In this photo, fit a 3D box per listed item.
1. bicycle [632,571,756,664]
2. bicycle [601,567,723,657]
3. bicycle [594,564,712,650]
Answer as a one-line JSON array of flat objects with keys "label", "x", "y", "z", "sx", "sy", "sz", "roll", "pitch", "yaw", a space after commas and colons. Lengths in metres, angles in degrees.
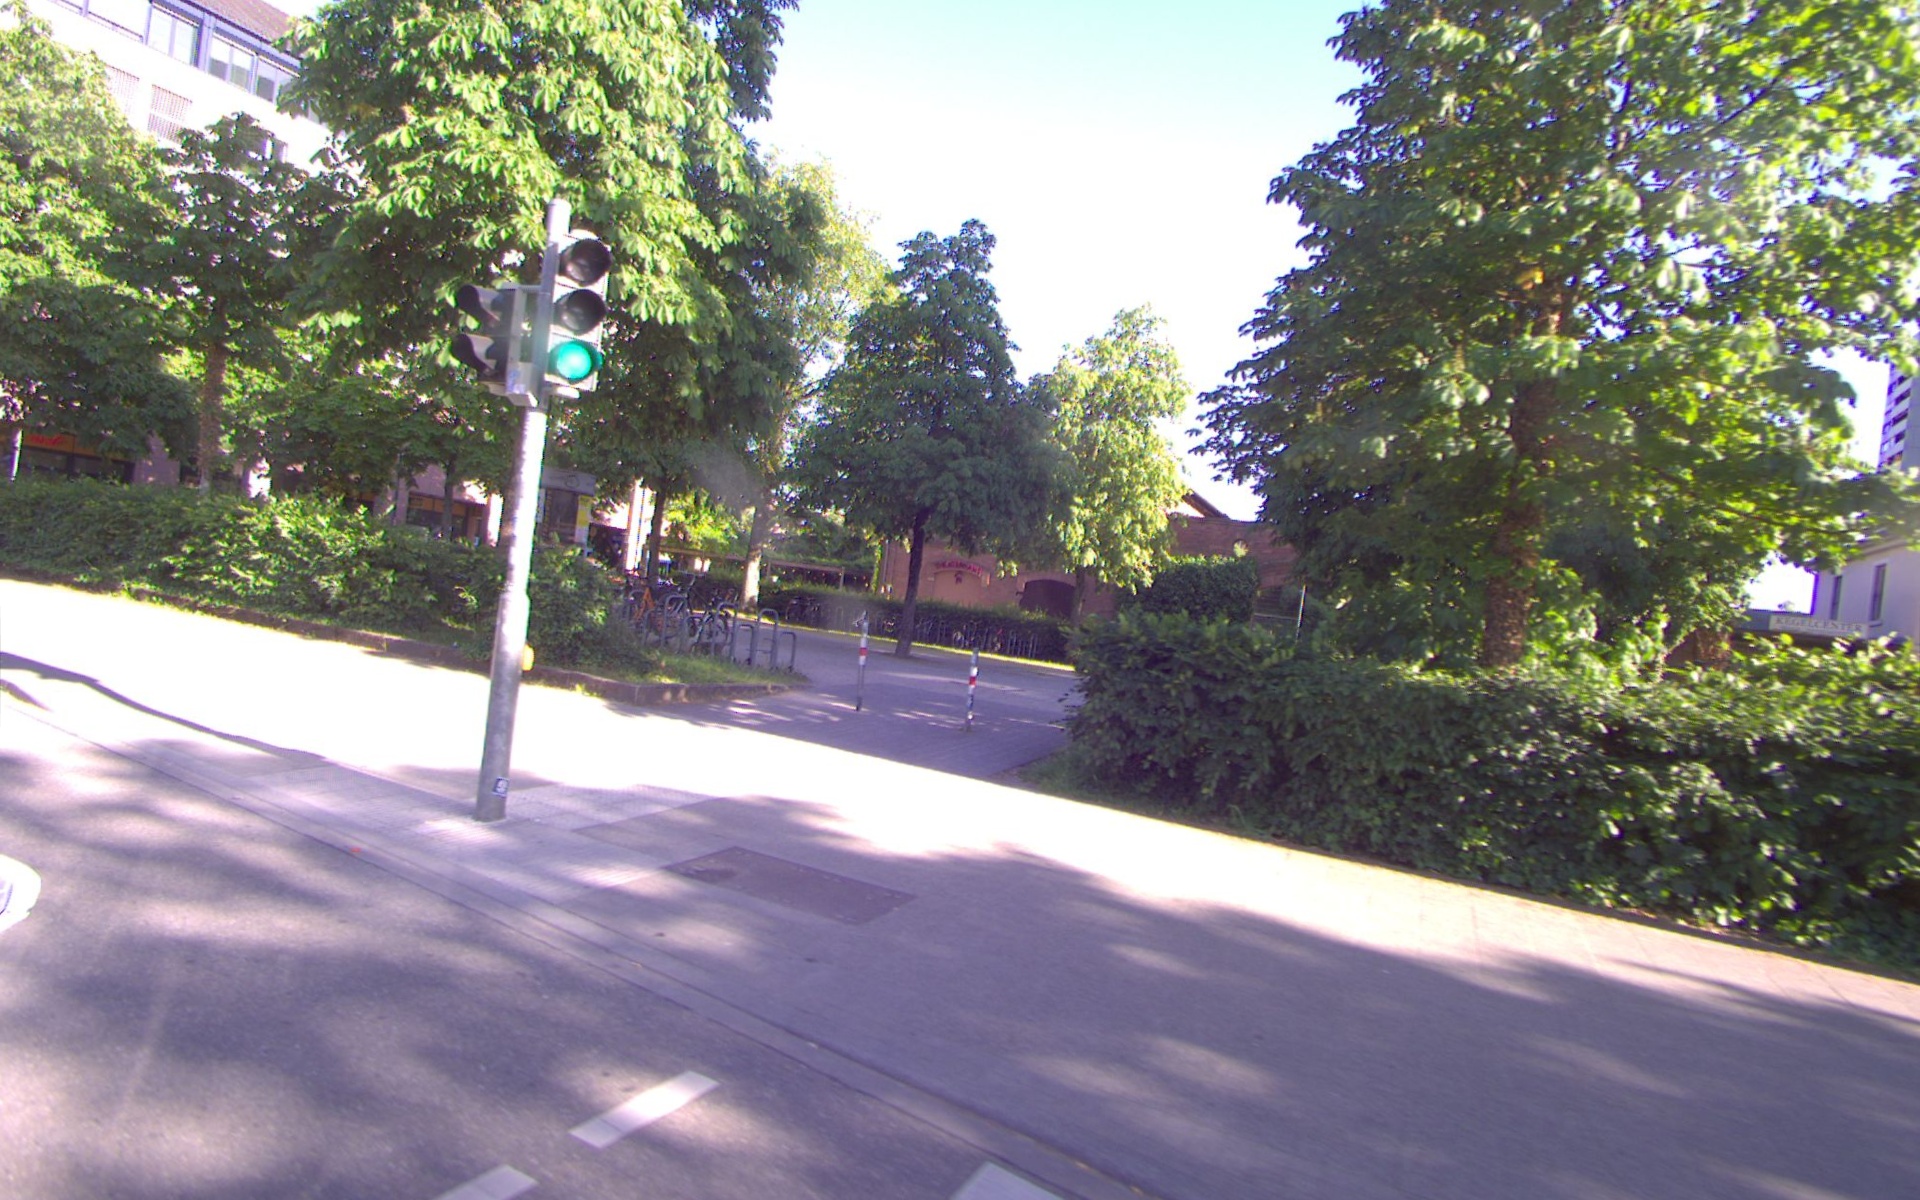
[{"label": "bicycle", "x": -4.174, "y": 0.307, "z": 15.958, "sx": 0.564, "sy": 1.331, "sz": 1.999, "roll": 7, "pitch": 1, "yaw": 29}, {"label": "bicycle", "x": -4.860, "y": 0.229, "z": 16.546, "sx": 0.564, "sy": 1.331, "sz": 1.999, "roll": 7, "pitch": 1, "yaw": 29}, {"label": "bicycle", "x": -5.201, "y": 0.155, "z": 17.177, "sx": 0.564, "sy": 1.331, "sz": 1.999, "roll": 7, "pitch": 1, "yaw": 29}]
